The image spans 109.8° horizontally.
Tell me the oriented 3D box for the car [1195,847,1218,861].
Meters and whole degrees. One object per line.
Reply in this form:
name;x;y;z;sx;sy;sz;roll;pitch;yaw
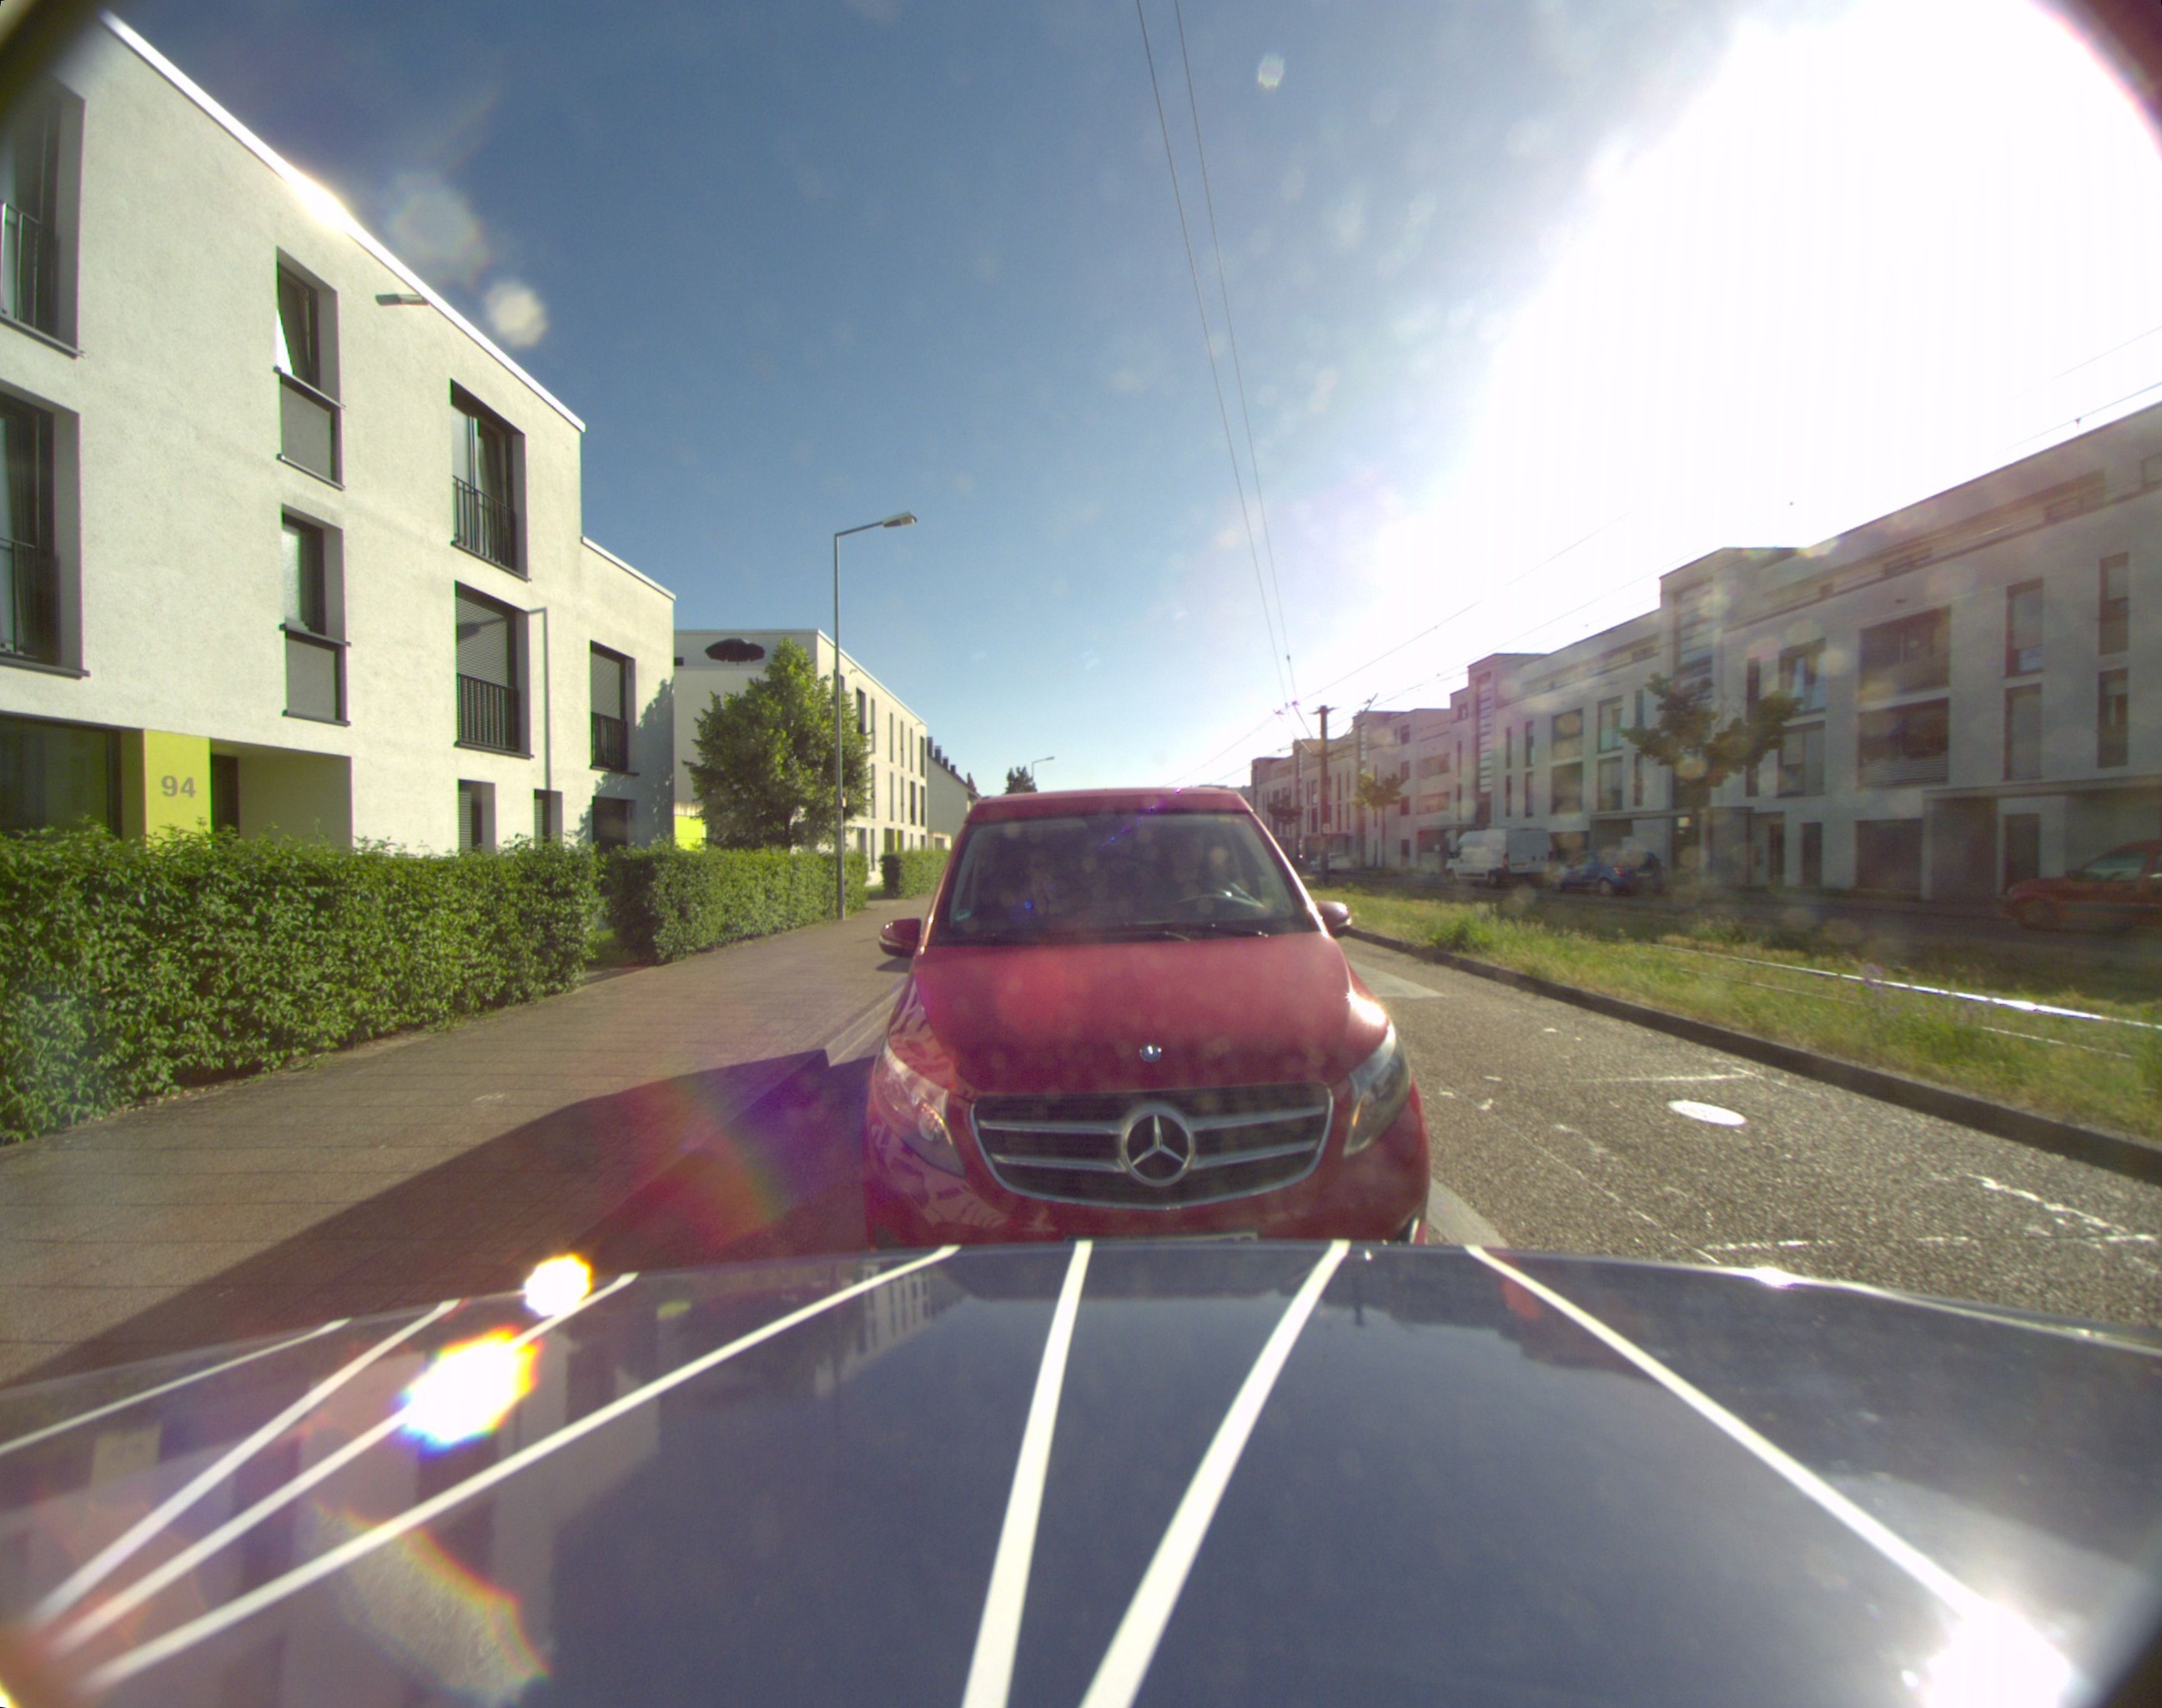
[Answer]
car;15.477;-0.036;93.894;1.923;1.671;4.282;-2;1;-4

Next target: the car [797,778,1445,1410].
car;0.154;0.704;4.532;1.874;1.843;4.506;-2;1;1

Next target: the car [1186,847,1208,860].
car;15.190;-0.059;99.646;1.923;1.671;4.282;-2;1;-4

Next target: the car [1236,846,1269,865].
car;16.721;0.134;74.343;1.923;1.671;4.282;-2;1;-4

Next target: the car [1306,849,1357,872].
car;17.636;0.415;53.728;1.923;1.497;4.282;-2;1;-4

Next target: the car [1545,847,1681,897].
car;18.379;0.576;26.488;1.999;1.536;3.835;-2;1;0

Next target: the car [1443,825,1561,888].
car;18.171;0.075;33.159;2.225;2.458;5.195;-2;1;0

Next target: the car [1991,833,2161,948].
car;18.619;0.579;12.797;1.998;1.817;3.895;-2;1;3
